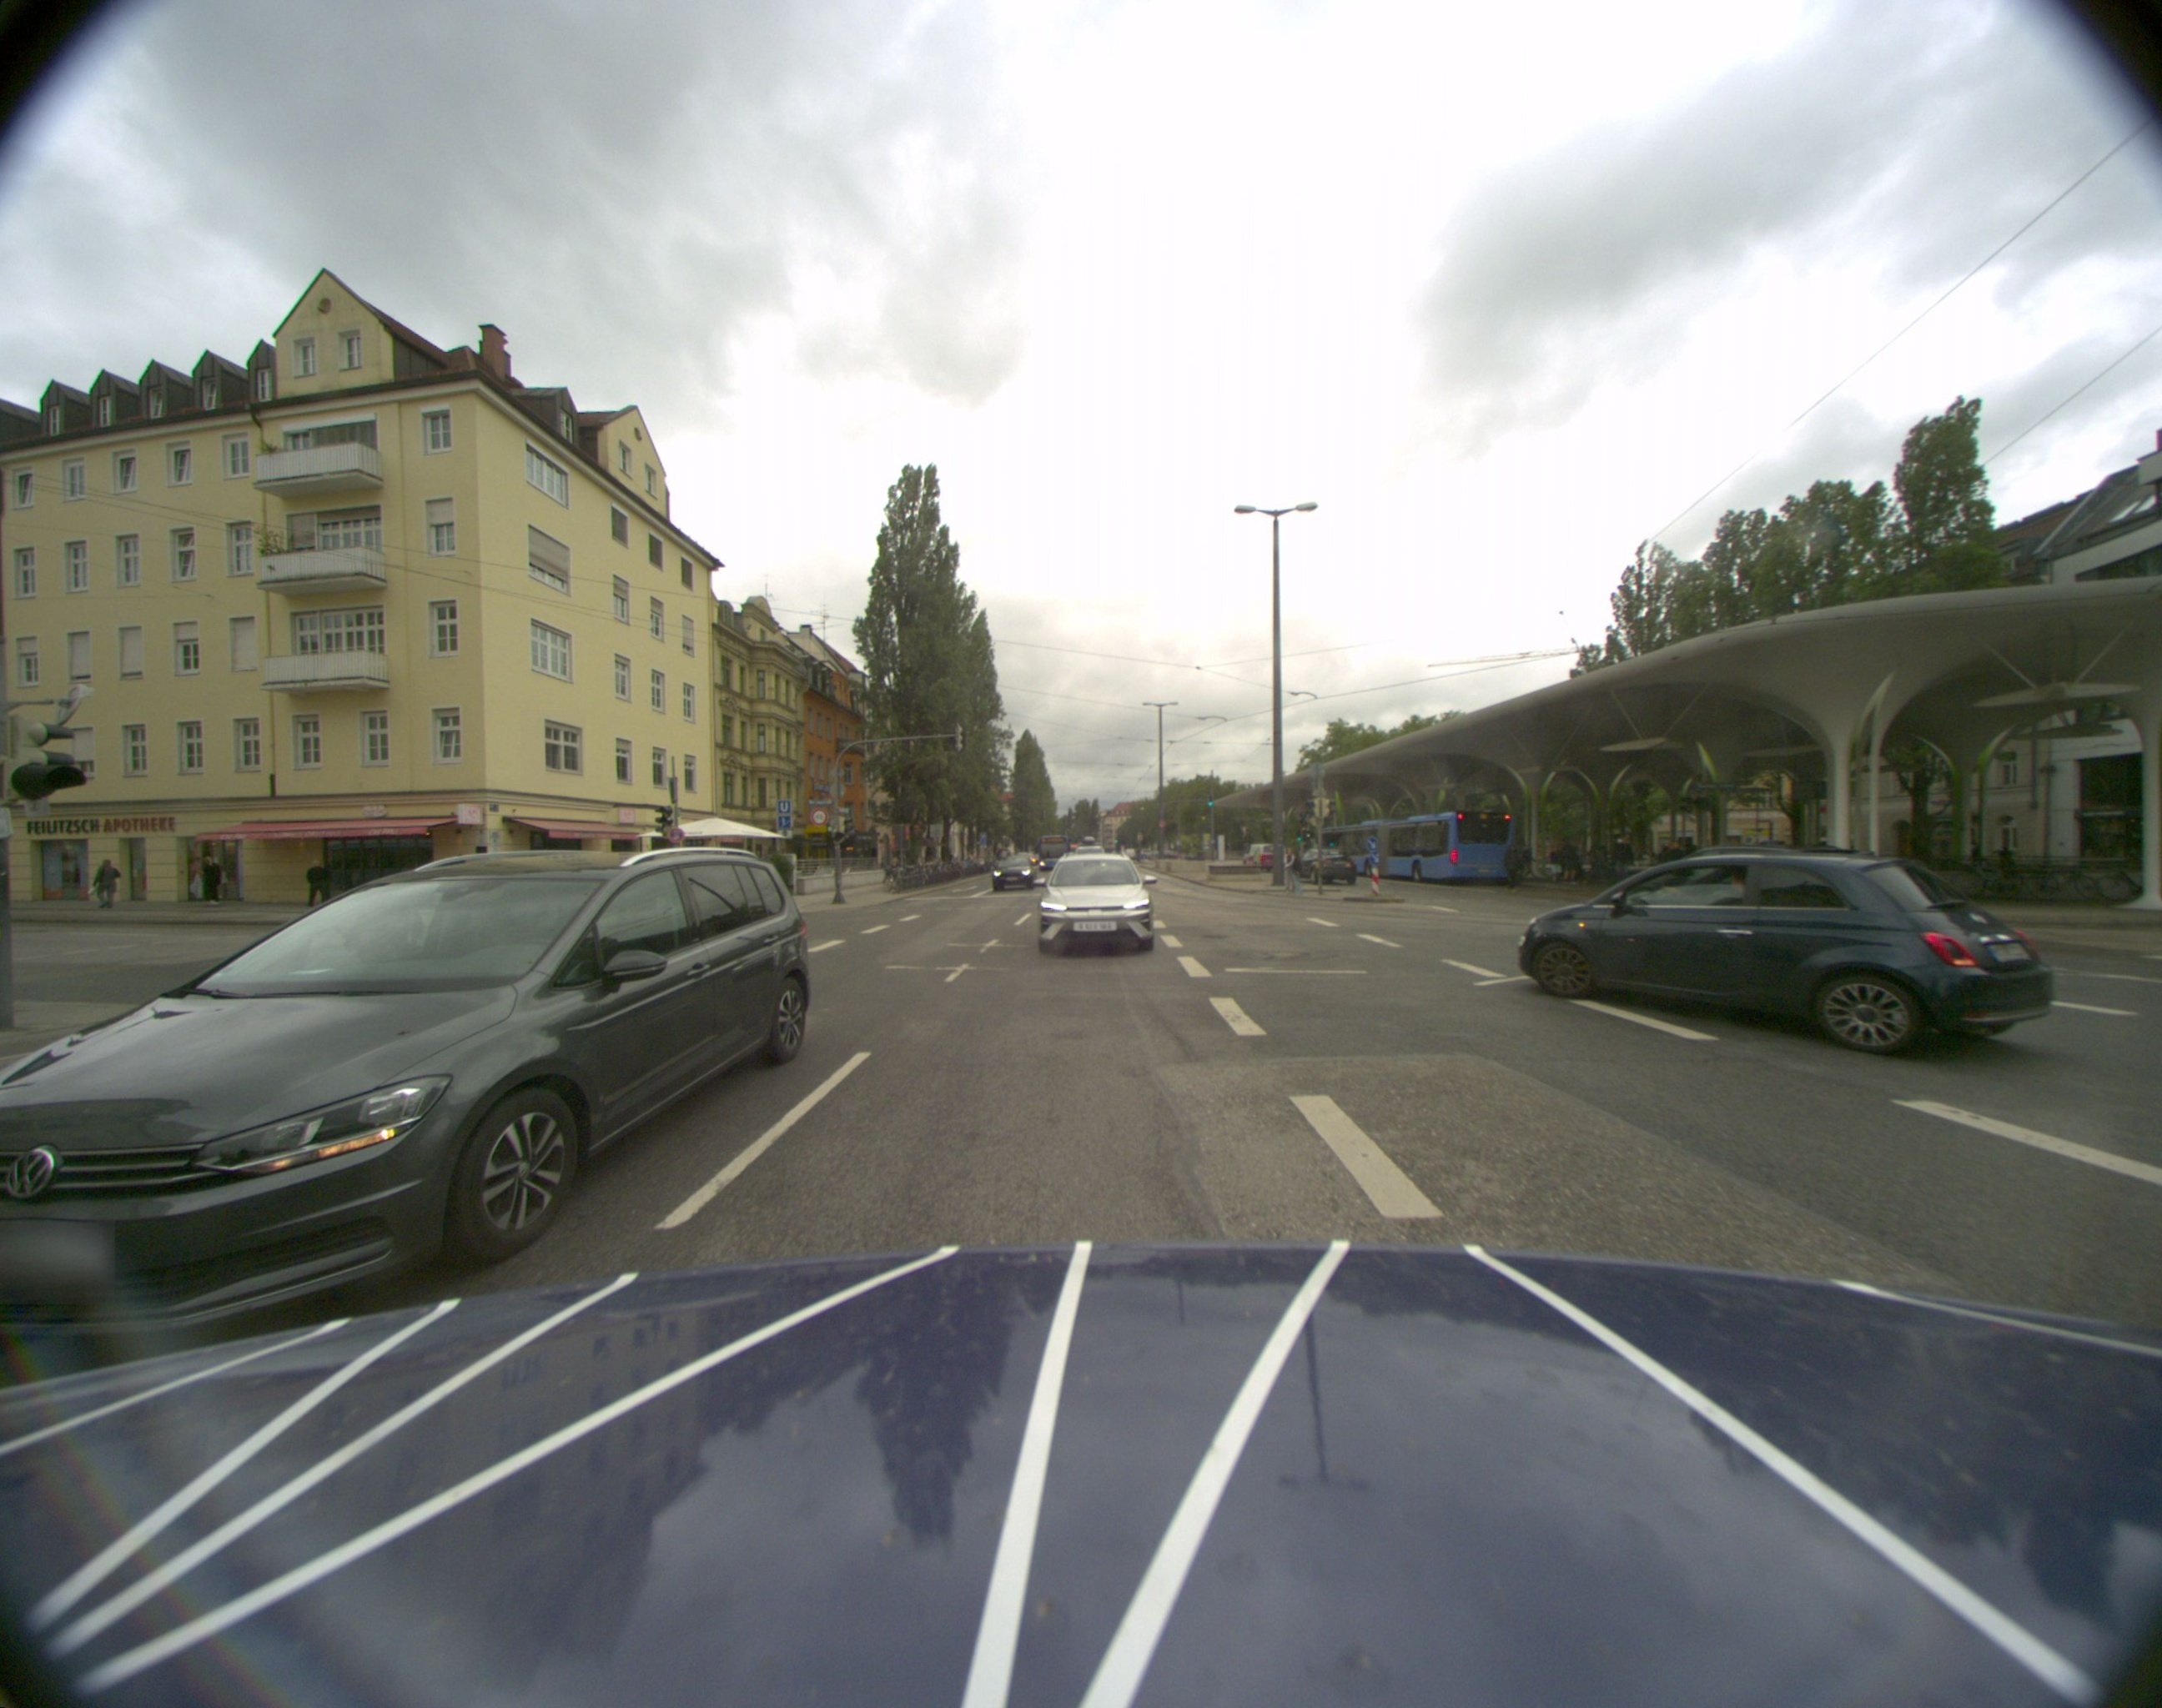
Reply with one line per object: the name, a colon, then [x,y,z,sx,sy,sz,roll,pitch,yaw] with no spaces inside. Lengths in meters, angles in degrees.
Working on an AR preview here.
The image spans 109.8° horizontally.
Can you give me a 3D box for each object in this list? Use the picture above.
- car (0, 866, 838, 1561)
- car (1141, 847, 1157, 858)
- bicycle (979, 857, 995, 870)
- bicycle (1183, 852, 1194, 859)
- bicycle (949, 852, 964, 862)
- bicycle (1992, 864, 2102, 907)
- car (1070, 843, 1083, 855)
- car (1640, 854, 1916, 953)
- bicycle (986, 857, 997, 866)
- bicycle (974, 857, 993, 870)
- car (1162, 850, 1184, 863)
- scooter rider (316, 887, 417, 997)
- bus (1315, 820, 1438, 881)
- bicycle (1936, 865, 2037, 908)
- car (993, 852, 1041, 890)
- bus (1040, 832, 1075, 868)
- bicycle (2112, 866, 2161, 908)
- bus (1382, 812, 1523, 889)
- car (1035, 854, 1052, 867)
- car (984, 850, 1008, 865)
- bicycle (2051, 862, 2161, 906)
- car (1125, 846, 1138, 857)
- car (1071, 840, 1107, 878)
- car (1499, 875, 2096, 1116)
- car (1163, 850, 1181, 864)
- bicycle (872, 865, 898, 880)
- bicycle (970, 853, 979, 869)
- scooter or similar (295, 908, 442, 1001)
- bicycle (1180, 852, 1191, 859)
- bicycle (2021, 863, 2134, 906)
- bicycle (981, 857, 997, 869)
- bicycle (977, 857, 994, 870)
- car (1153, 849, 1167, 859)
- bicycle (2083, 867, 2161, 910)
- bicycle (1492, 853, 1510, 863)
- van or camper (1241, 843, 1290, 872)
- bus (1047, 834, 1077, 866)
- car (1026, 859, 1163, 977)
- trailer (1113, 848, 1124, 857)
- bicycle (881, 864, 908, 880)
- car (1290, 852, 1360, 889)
car: [-3.065,0.943,4.257,1.776,1.637,4.708,0,0,1]
car: [12.070,-0.337,134.453,2.181,1.876,6.155,-1,0,-1]
bicycle: [-7.561,0.746,61.236,0.376,0.990,1.837,-1,-1,-38]
bicycle: [17.165,0.253,121.526,1.693,1.165,0.561,-1,1,-9]
bicycle: [-15.384,0.354,94.075,1.890,1.148,0.464,-2,1,-42]
bicycle: [27.379,0.874,21.606,0.654,1.112,2.184,0,0,11]
car: [-0.979,-1.154,173.748,2.806,2.836,5.114,-1,1,1]
car: [13.308,0.845,14.908,1.787,1.652,4.000,-1,0,1]
bicycle: [-11.107,0.901,94.444,0.445,1.017,1.842,-1,1,27]
bicycle: [-7.598,0.760,59.028,1.837,0.990,0.376,-2,-1,43]
car: [9.993,0.242,83.147,1.847,1.408,4.034,-1,1,-1]
scooter rider: [-9.434,1.140,10.056,0.702,1.381,0.643,-1,1,-1]
bus: [16.340,-0.200,43.102,2.667,2.990,10.513,1,0,-1]
bicycle: [26.049,0.901,21.921,0.642,1.118,2.167,0,1,10]
car: [-2.837,0.742,34.500,1.780,1.495,3.969,-2,1,0]
bus: [-2.037,-0.345,69.352,2.637,2.956,9.466,-3,0,1]
bicycle: [30.143,0.917,20.983,0.654,1.112,2.184,0,0,11]
bus: [16.314,-0.163,34.130,2.667,2.990,7.513,1,0,1]
car: [-4.559,0.764,92.030,1.780,1.515,3.969,-1,1,0]
car: [-8.492,0.297,76.120,1.999,1.432,4.528,-1,0,-1]
bicycle: [28.739,0.812,21.282,0.654,1.112,2.184,0,0,11]
car: [8.565,-0.475,128.678,1.791,1.844,4.217,0,0,-2]
car: [0.452,0.259,44.179,1.998,2.100,3.999,0,1,0]
car: [5.871,0.958,6.776,1.552,1.437,3.532,1,0,-23]
car: [12.031,0.410,100.435,1.911,1.829,3.868,-1,0,1]
bicycle: [-13.552,1.273,52.428,1.725,1.039,0.388,-2,0,12]
bicycle: [-8.958,0.571,64.058,0.424,1.281,1.778,-1,1,2]
scooter or similar: [-9.476,1.311,10.173,0.777,1.069,1.256,-1,1,-1]
bicycle: [16.819,0.263,122.694,1.693,1.165,0.561,-1,1,-9]
bicycle: [28.045,0.844,21.449,0.654,1.112,2.184,0,0,11]
bicycle: [-7.506,0.740,61.876,0.376,0.990,1.837,-1,-1,-38]
bicycle: [-7.594,0.752,60.472,0.376,0.990,1.837,-1,-1,-38]
car: [12.290,0.022,118.458,1.677,1.370,4.612,2,1,-1]
bicycle: [29.486,0.947,21.131,0.654,1.112,2.184,0,0,11]
bicycle: [47.510,0.461,85.973,0.644,1.123,2.524,-1,1,1]
van or camper: [12.501,0.204,51.810,1.933,1.815,5.439,-1,0,-1]
bus: [-1.891,-0.404,78.379,2.637,2.956,8.533,-3,0,1]
car: [0.263,0.867,12.579,1.812,1.496,4.952,0,0,2]
trailer: [11.421,-0.558,231.212,2.616,2.666,15.639,1,0,0]
bicycle: [-12.644,1.235,51.558,1.727,1.039,0.387,-1,0,-5]
car: [10.614,0.652,33.329,1.668,1.499,4.281,0,0,-1]
